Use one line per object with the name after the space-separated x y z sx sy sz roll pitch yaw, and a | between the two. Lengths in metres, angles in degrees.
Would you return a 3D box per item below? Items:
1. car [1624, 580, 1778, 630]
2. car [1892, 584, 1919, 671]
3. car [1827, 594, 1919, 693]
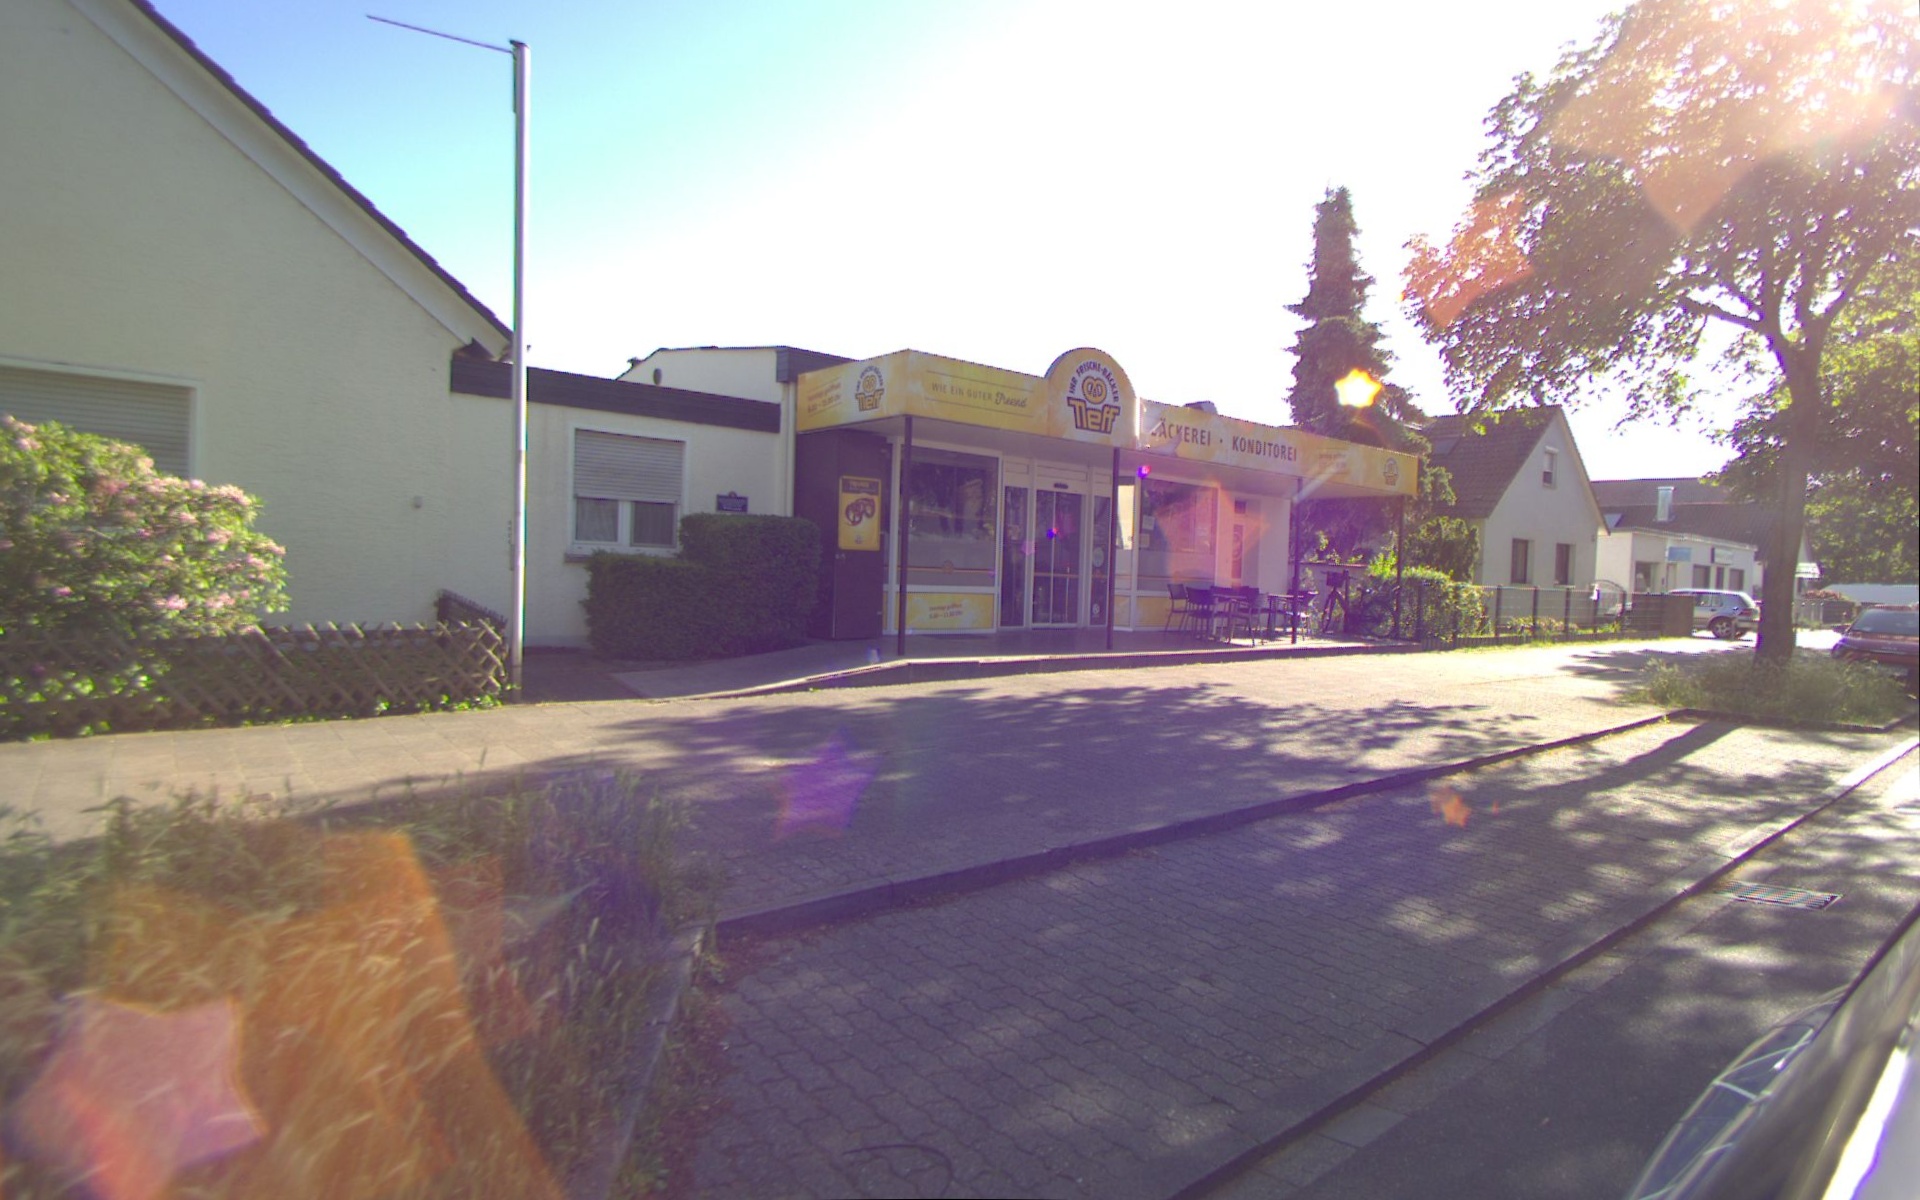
23.211 0.168 31.778 1.667 1.457 3.615 -1 0 -42 | car
21.049 0.556 20.906 4.282 1.715 1.942 0 2 -38 | car
16.226 0.682 17.117 3.710 1.439 1.690 -1 4 -39 | car
